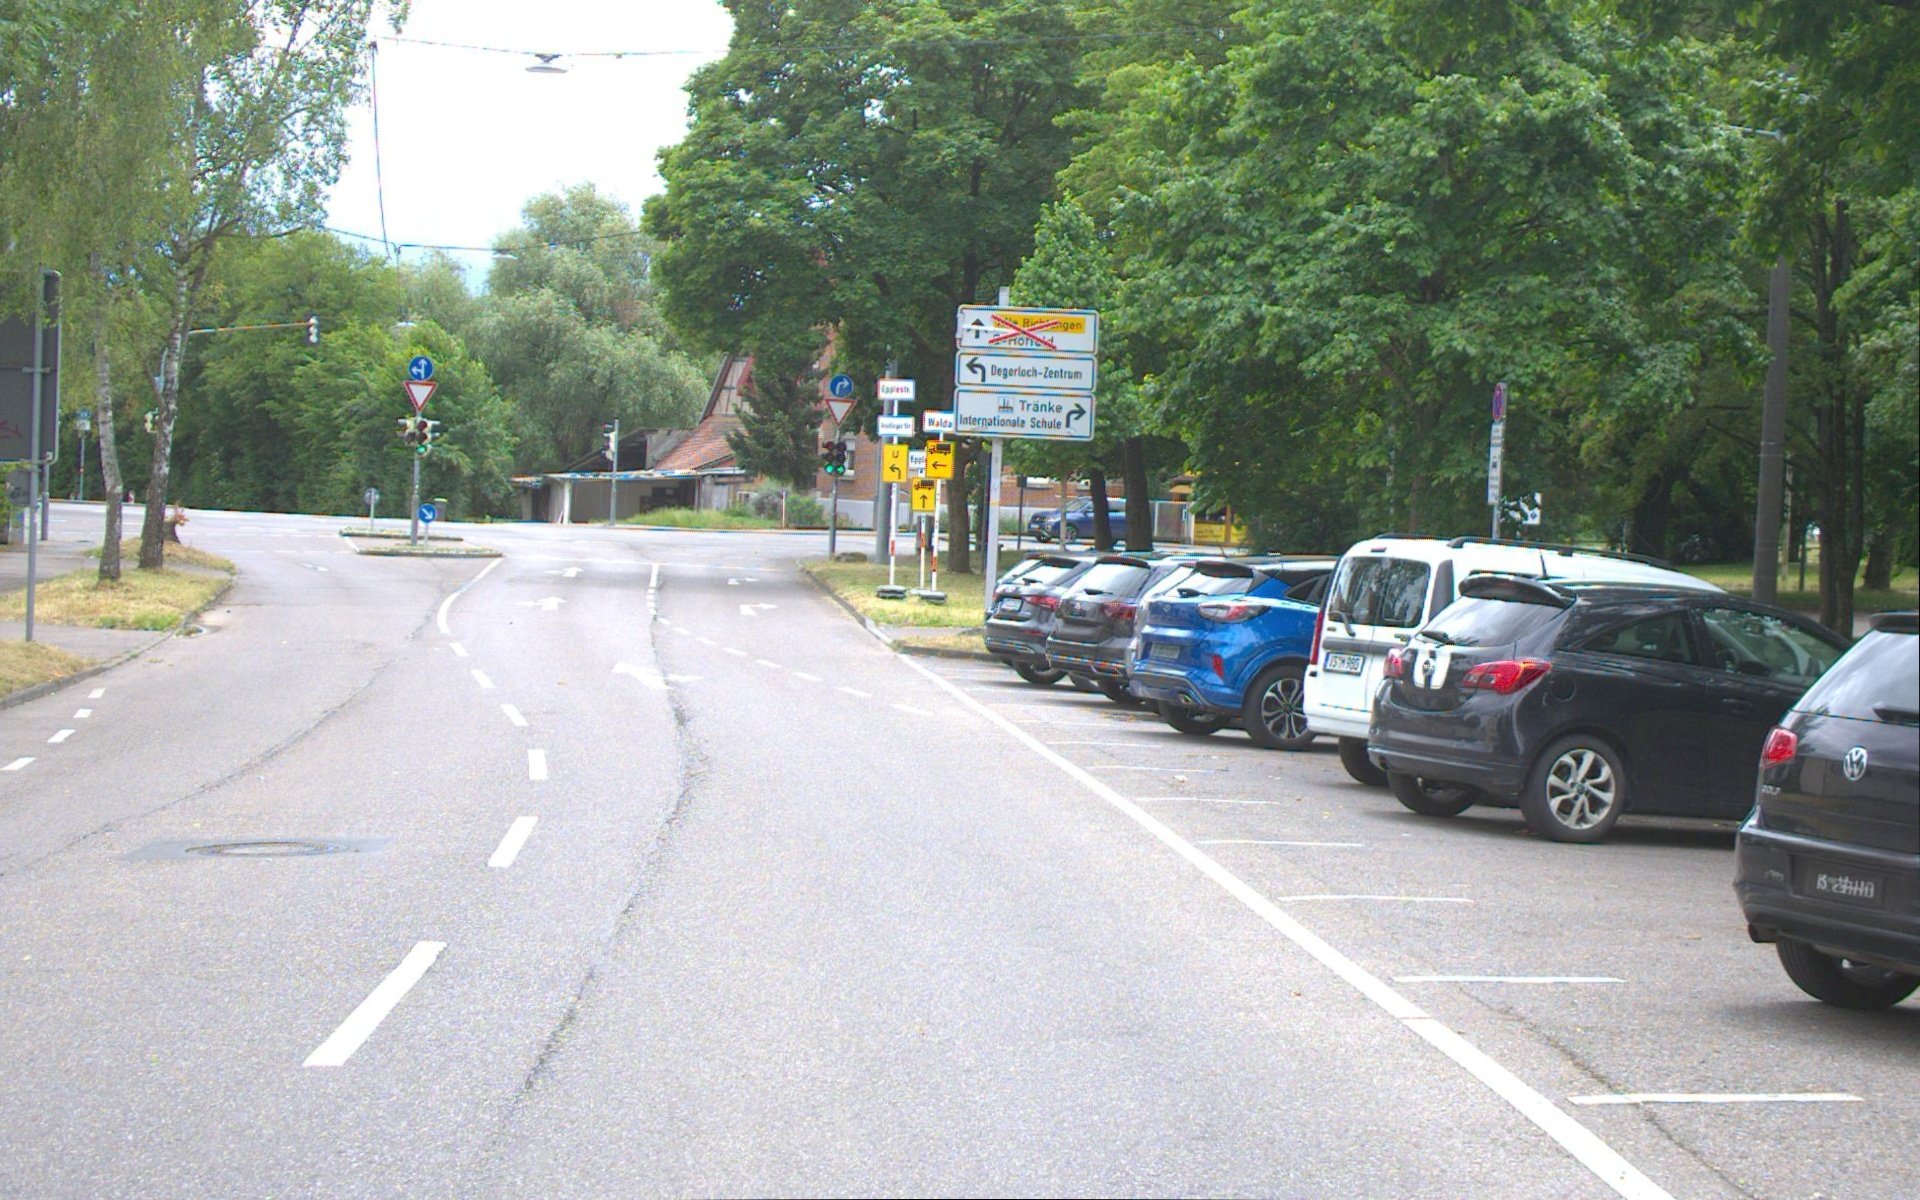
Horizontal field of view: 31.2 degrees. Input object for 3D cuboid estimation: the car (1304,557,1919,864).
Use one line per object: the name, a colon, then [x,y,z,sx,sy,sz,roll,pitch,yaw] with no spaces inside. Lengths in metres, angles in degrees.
car: [4.169,0.660,20.070,3.817,1.463,1.747,4,1,-23]

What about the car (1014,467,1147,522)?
car: [3.969,-3.477,113.300,3.844,1.641,2.001,1,2,-25]

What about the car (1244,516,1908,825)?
car: [4.085,0.464,22.854,3.817,1.714,1.879,4,0,-23]

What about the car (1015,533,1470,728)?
car: [2.666,0.284,32.491,3.817,1.523,1.747,4,0,-23]

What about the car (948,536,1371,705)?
car: [2.060,0.212,35.652,3.872,1.421,1.831,4,0,-23]

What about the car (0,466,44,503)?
car: [-40.933,-5.008,148.851,1.794,1.507,4.001,1,2,-24]

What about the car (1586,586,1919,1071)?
car: [4.464,0.828,11.811,3.986,1.409,2.058,4,0,-23]

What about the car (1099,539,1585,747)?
car: [3.390,0.380,30.530,3.817,1.523,1.747,4,0,-23]

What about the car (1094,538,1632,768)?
car: [3.227,0.419,27.583,3.817,1.523,1.747,4,0,-23]
